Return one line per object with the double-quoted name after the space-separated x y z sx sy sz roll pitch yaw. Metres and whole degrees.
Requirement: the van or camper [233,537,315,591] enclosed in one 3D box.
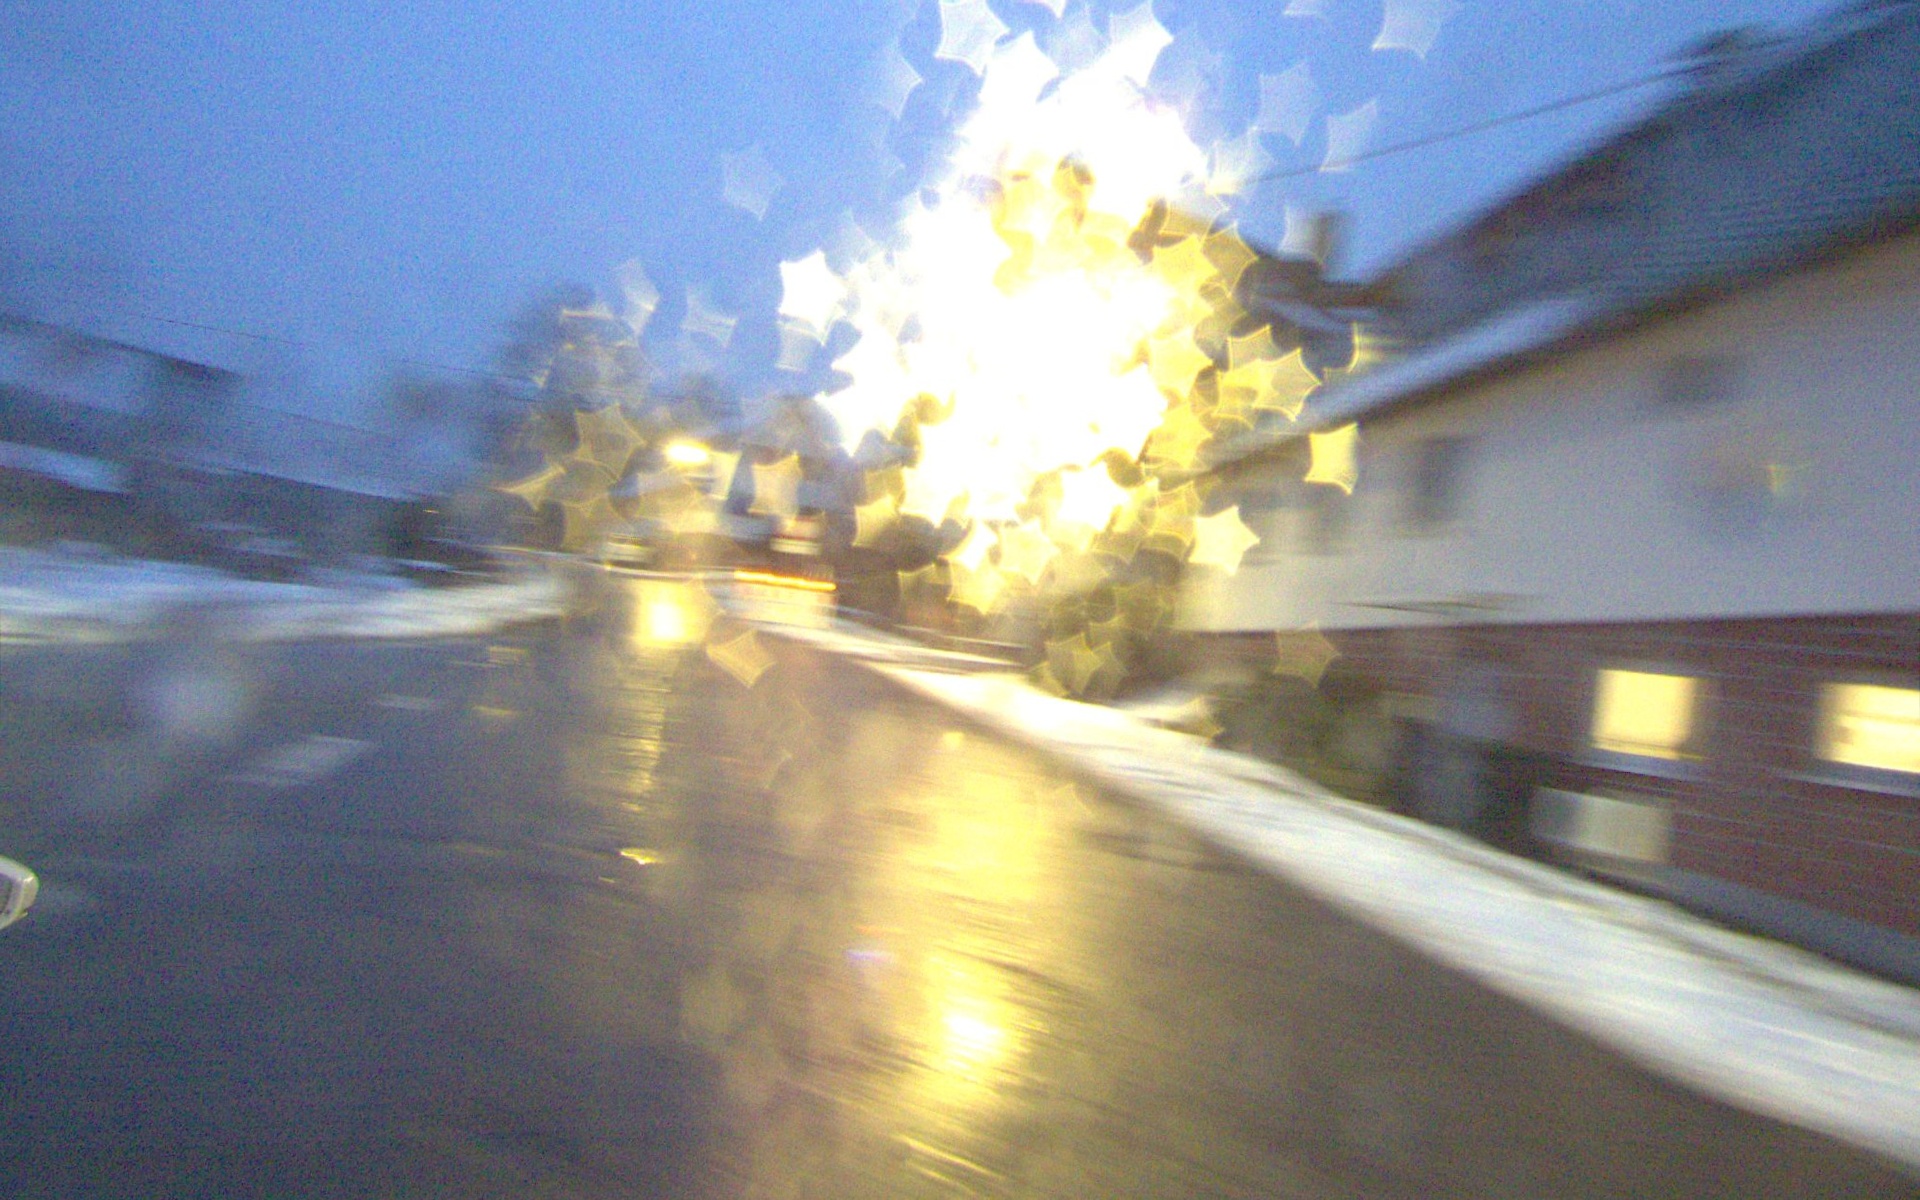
-17.752 -0.924 25.990 1.279 1.113 3.237 10 -5 -40 "van or camper"
